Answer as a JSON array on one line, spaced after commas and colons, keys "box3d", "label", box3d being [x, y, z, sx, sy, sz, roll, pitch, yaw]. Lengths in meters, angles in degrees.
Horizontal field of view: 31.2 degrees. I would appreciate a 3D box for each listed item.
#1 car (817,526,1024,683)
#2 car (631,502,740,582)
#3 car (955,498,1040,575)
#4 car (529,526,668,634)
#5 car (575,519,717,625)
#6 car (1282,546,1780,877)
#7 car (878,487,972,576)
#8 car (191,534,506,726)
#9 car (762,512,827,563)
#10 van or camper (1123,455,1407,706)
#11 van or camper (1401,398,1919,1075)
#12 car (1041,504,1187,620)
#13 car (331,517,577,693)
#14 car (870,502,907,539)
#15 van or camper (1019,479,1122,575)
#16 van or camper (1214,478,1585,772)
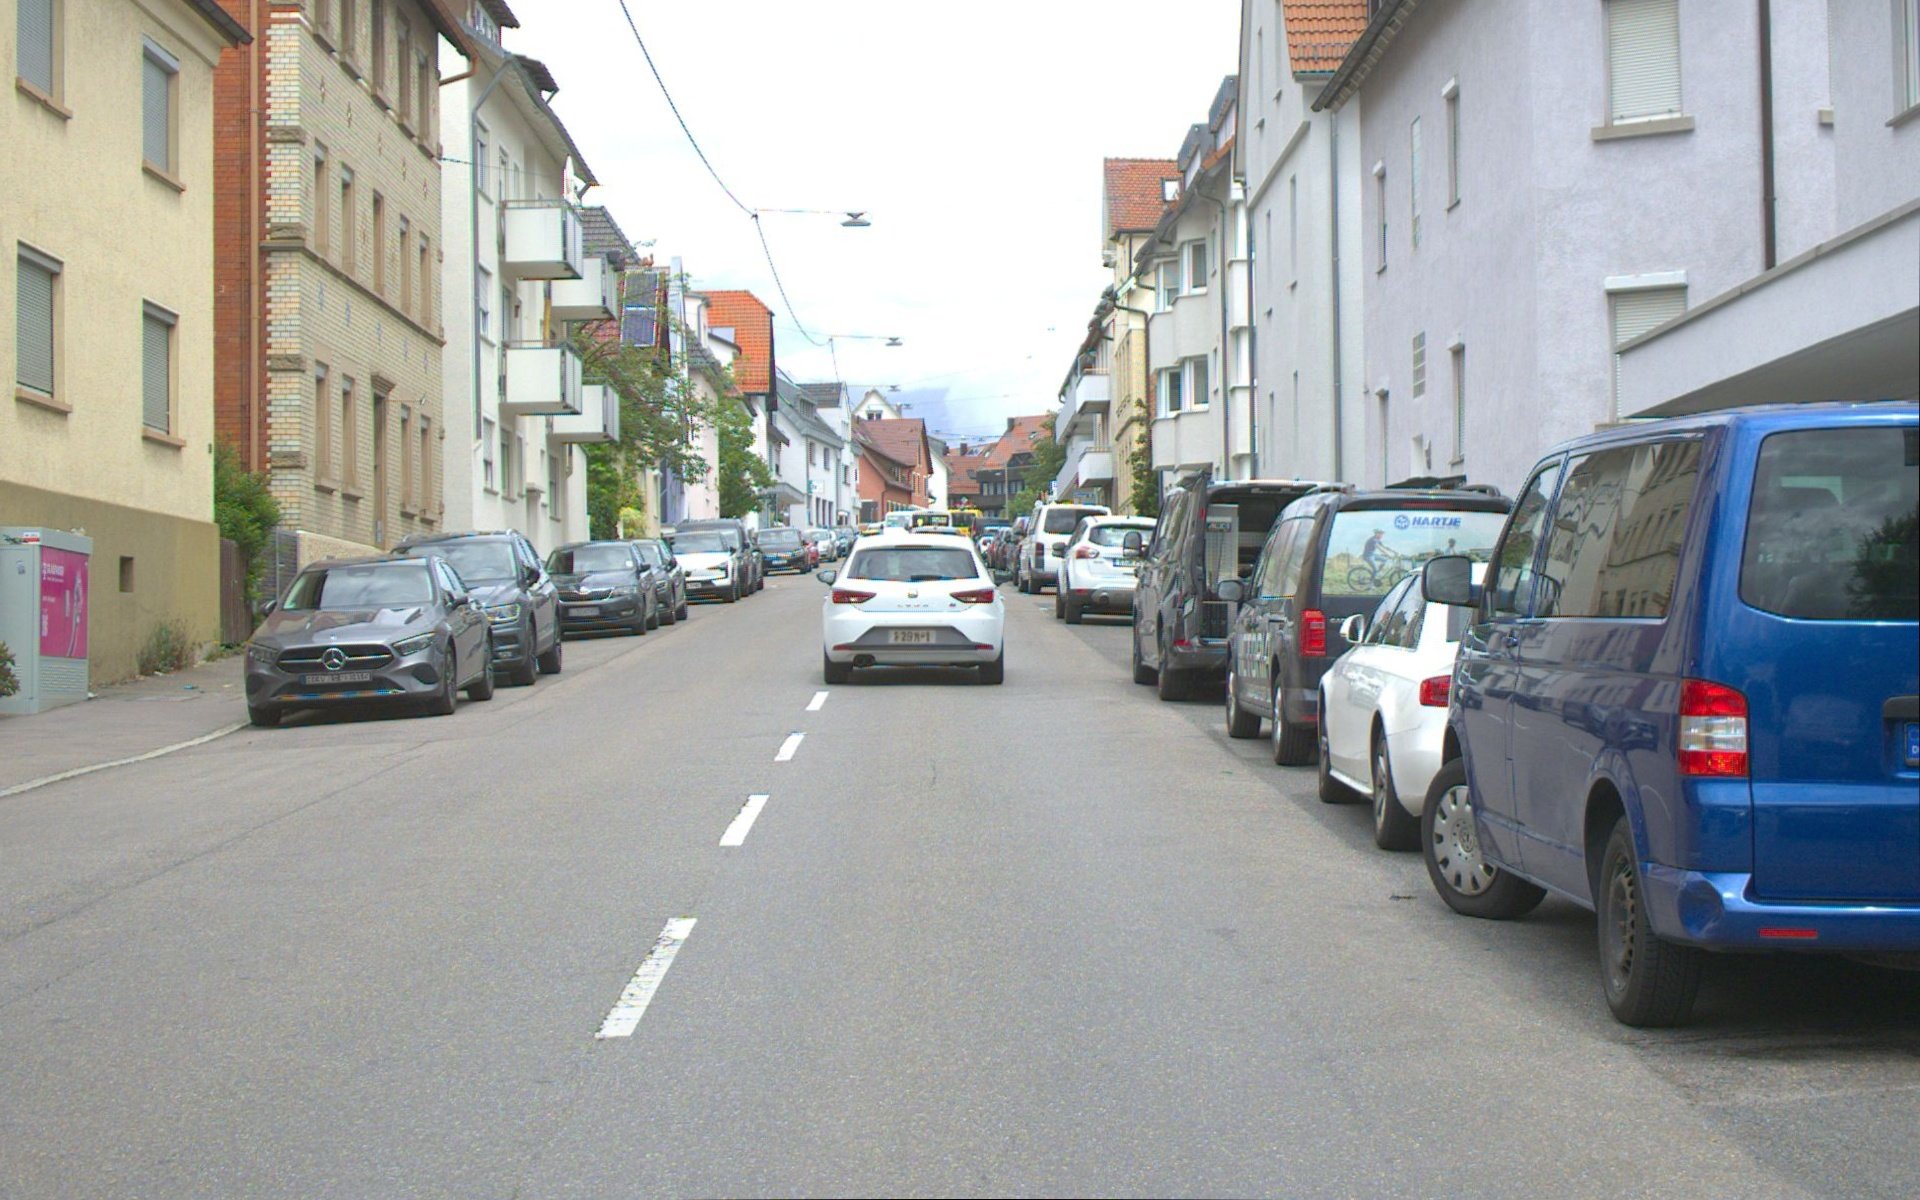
[{"box3d": [-0.357, 0.001, 34.108, 1.940, 1.434, 4.000, 0, 2, 0], "label": "car"}, {"box3d": [-5.820, -1.260, 73.270, 1.993, 1.645, 4.000, -1, 2, 0], "label": "car"}, {"box3d": [0.997, -1.736, 92.960, 1.993, 2.006, 4.001, -1, 2, -3], "label": "car"}, {"box3d": [-5.521, -0.338, 52.889, 1.642, 1.468, 4.179, -3, 2, 0], "label": "car"}, {"box3d": [-5.187, -0.496, 57.246, 1.993, 1.645, 4.000, -1, 2, 0], "label": "car"}, {"box3d": [2.805, 0.469, 17.904, 1.714, 1.431, 4.640, 1, 1, -1], "label": "car"}, {"box3d": [-0.852, -1.620, 80.889, 2.152, 2.007, 4.000, 0, 1, -1], "label": "car"}, {"box3d": [-5.497, 0.216, 31.472, 1.993, 1.467, 4.244, -4, 2, 1], "label": "car"}, {"box3d": [-5.600, -2.147, 116.837, 1.993, 1.645, 4.179, -1, 2, 0], "label": "car"}, {"box3d": [2.689, -0.243, 31.722, 1.993, 2.058, 5.945, 1, 2, -1], "label": "van or camper"}, {"box3d": [2.884, 0.322, 12.160, 1.926, 1.919, 4.831, 0, 2, -1], "label": "van or camper"}, {"box3d": [2.376, -0.623, 53.971, 1.940, 1.687, 4.001, 2, 2, -2], "label": "car"}, {"box3d": [-5.412, -0.003, 37.298, 1.993, 1.645, 4.554, -4, 2, -1], "label": "car"}, {"box3d": [-4.003, -4.455, 192.469, 1.993, 2.006, 4.000, -1, 2, 0], "label": "car"}, {"box3d": [2.411, -1.631, 76.081, 1.940, 2.047, 4.564, 0, 2, -2], "label": "van or camper"}, {"box3d": [2.955, 0.095, 24.111, 1.871, 1.822, 4.681, 1, 2, -1], "label": "van or camper"}]
